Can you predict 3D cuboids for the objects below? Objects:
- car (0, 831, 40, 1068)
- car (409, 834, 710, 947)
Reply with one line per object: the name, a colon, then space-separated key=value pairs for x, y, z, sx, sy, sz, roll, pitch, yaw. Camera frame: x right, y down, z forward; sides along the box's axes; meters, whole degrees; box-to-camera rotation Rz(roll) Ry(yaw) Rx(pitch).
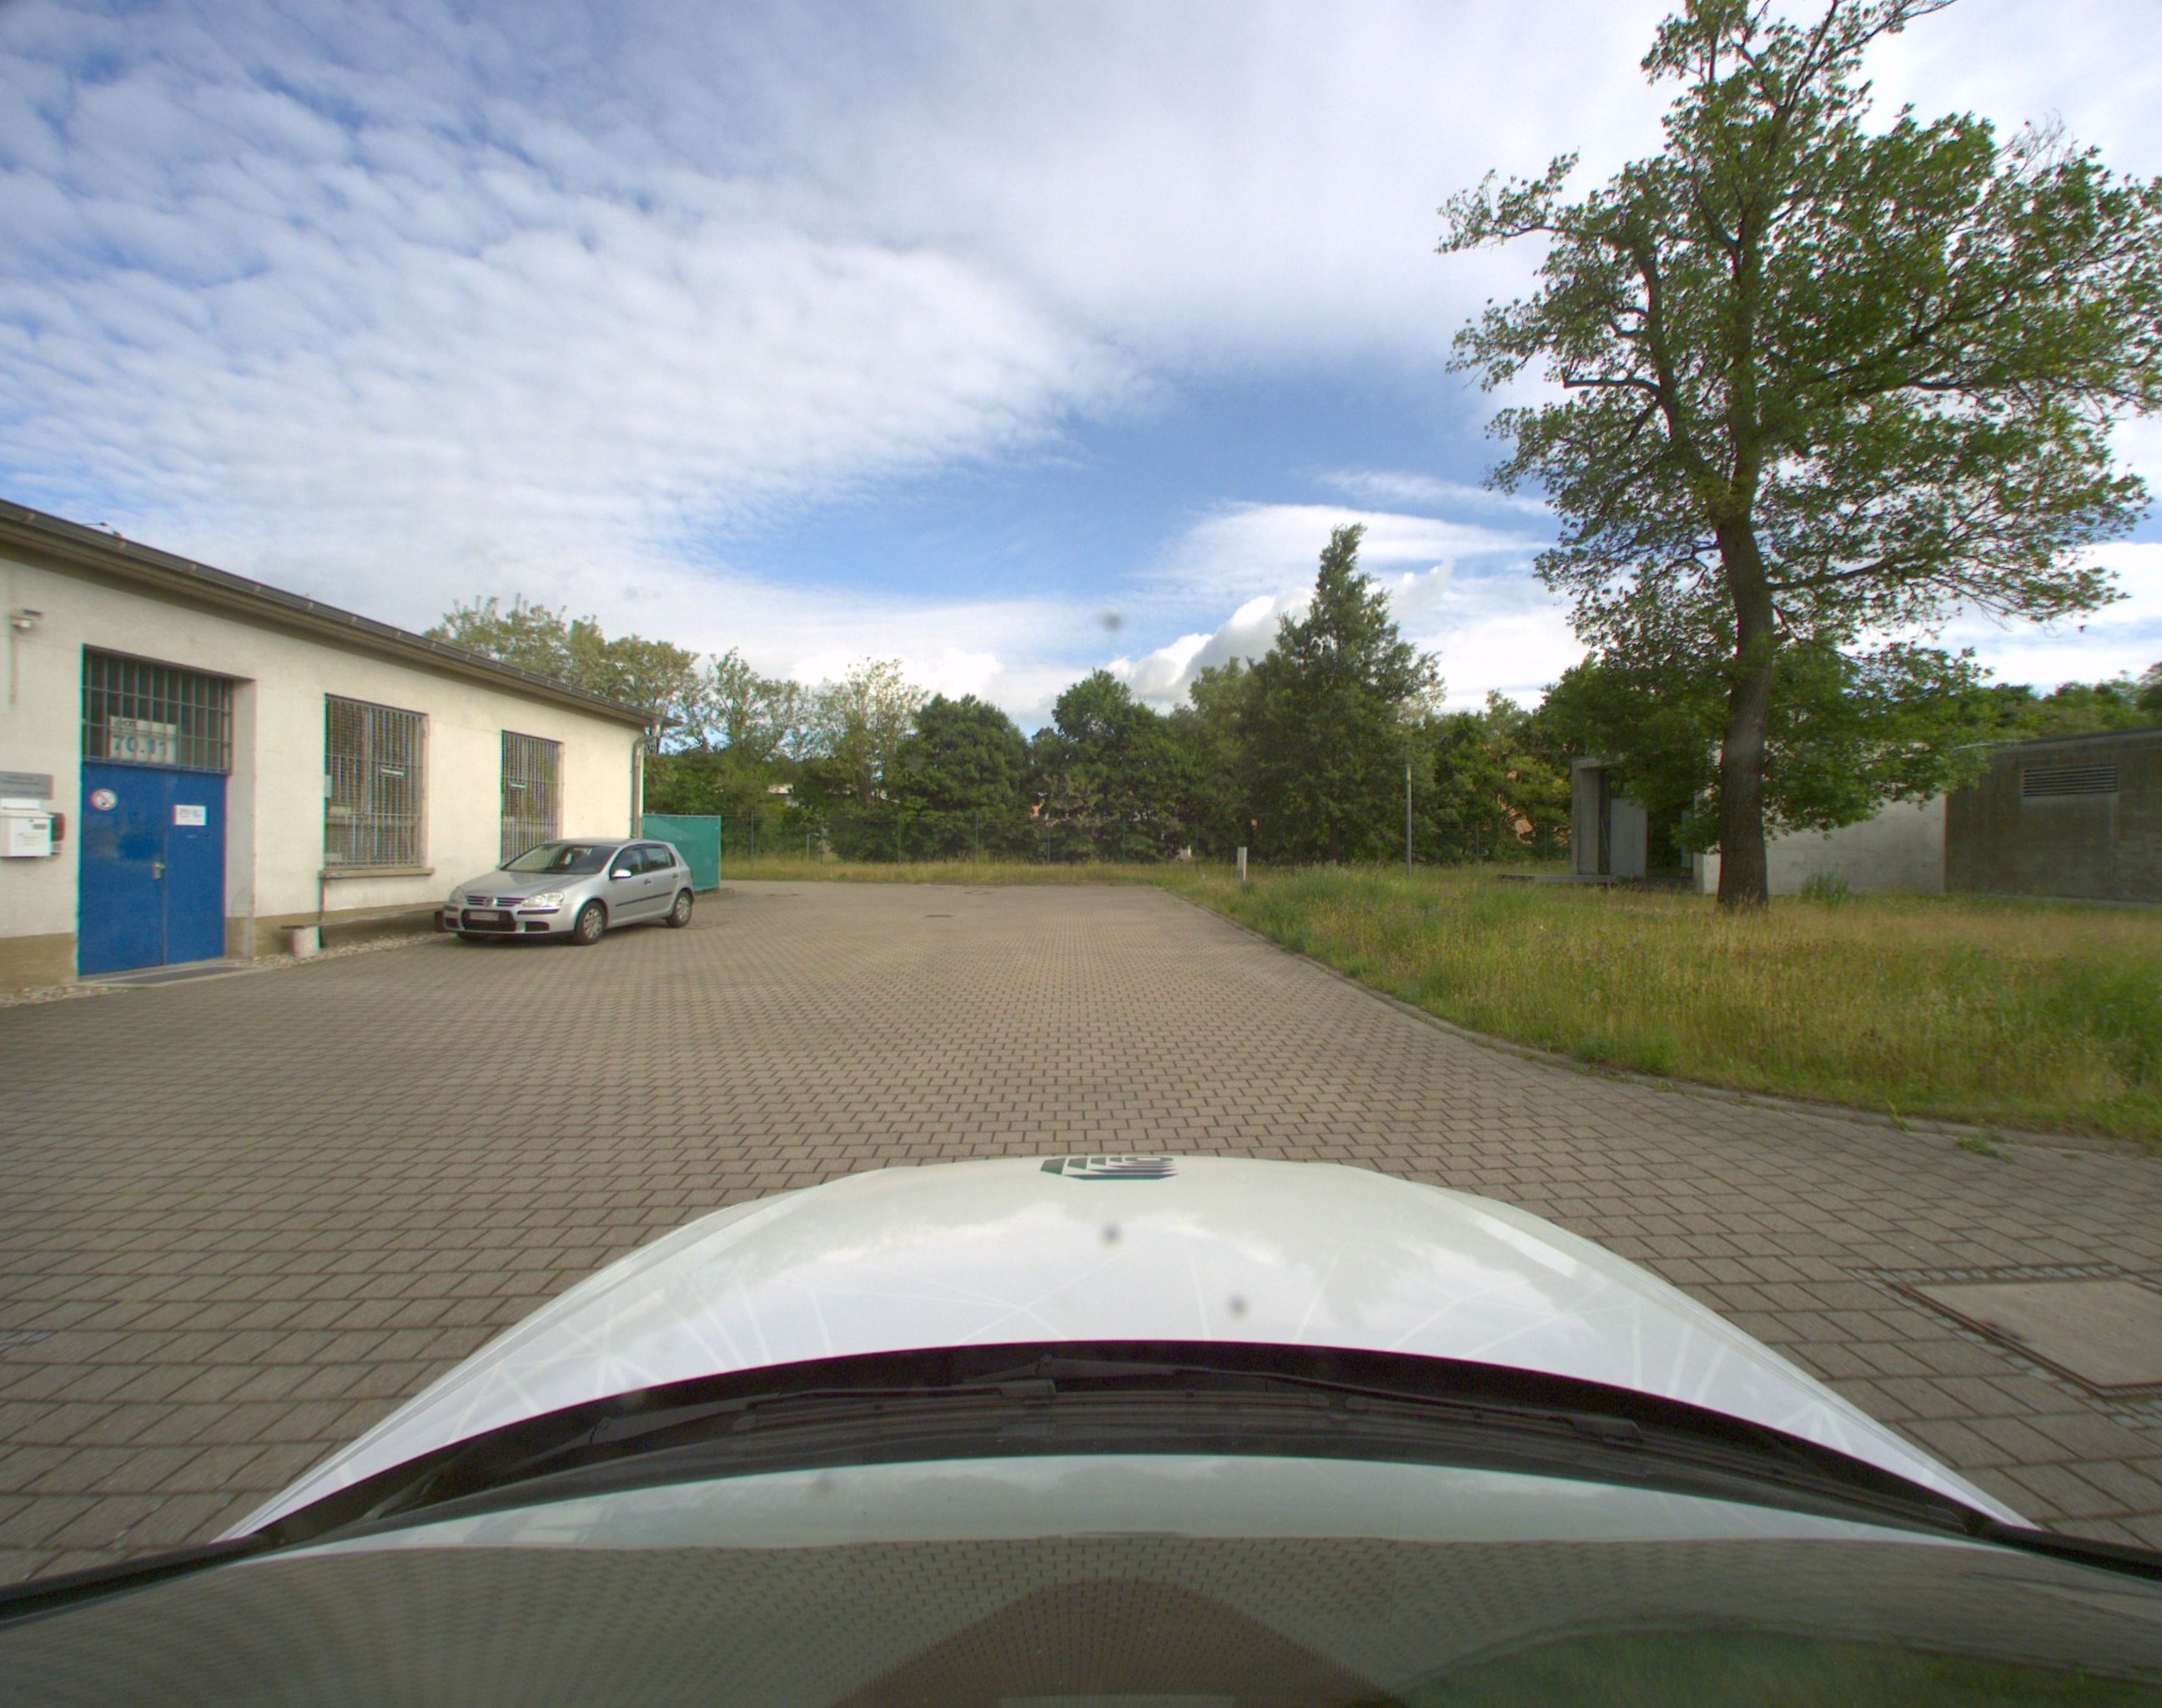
car: x=-7.543 y=0.632 z=2.751 sx=1.919 sy=1.461 sz=4.808 roll=0 pitch=1 yaw=-2
car: x=-7.637 y=0.422 z=12.569 sx=1.919 sy=1.439 sz=4.365 roll=0 pitch=1 yaw=-2
